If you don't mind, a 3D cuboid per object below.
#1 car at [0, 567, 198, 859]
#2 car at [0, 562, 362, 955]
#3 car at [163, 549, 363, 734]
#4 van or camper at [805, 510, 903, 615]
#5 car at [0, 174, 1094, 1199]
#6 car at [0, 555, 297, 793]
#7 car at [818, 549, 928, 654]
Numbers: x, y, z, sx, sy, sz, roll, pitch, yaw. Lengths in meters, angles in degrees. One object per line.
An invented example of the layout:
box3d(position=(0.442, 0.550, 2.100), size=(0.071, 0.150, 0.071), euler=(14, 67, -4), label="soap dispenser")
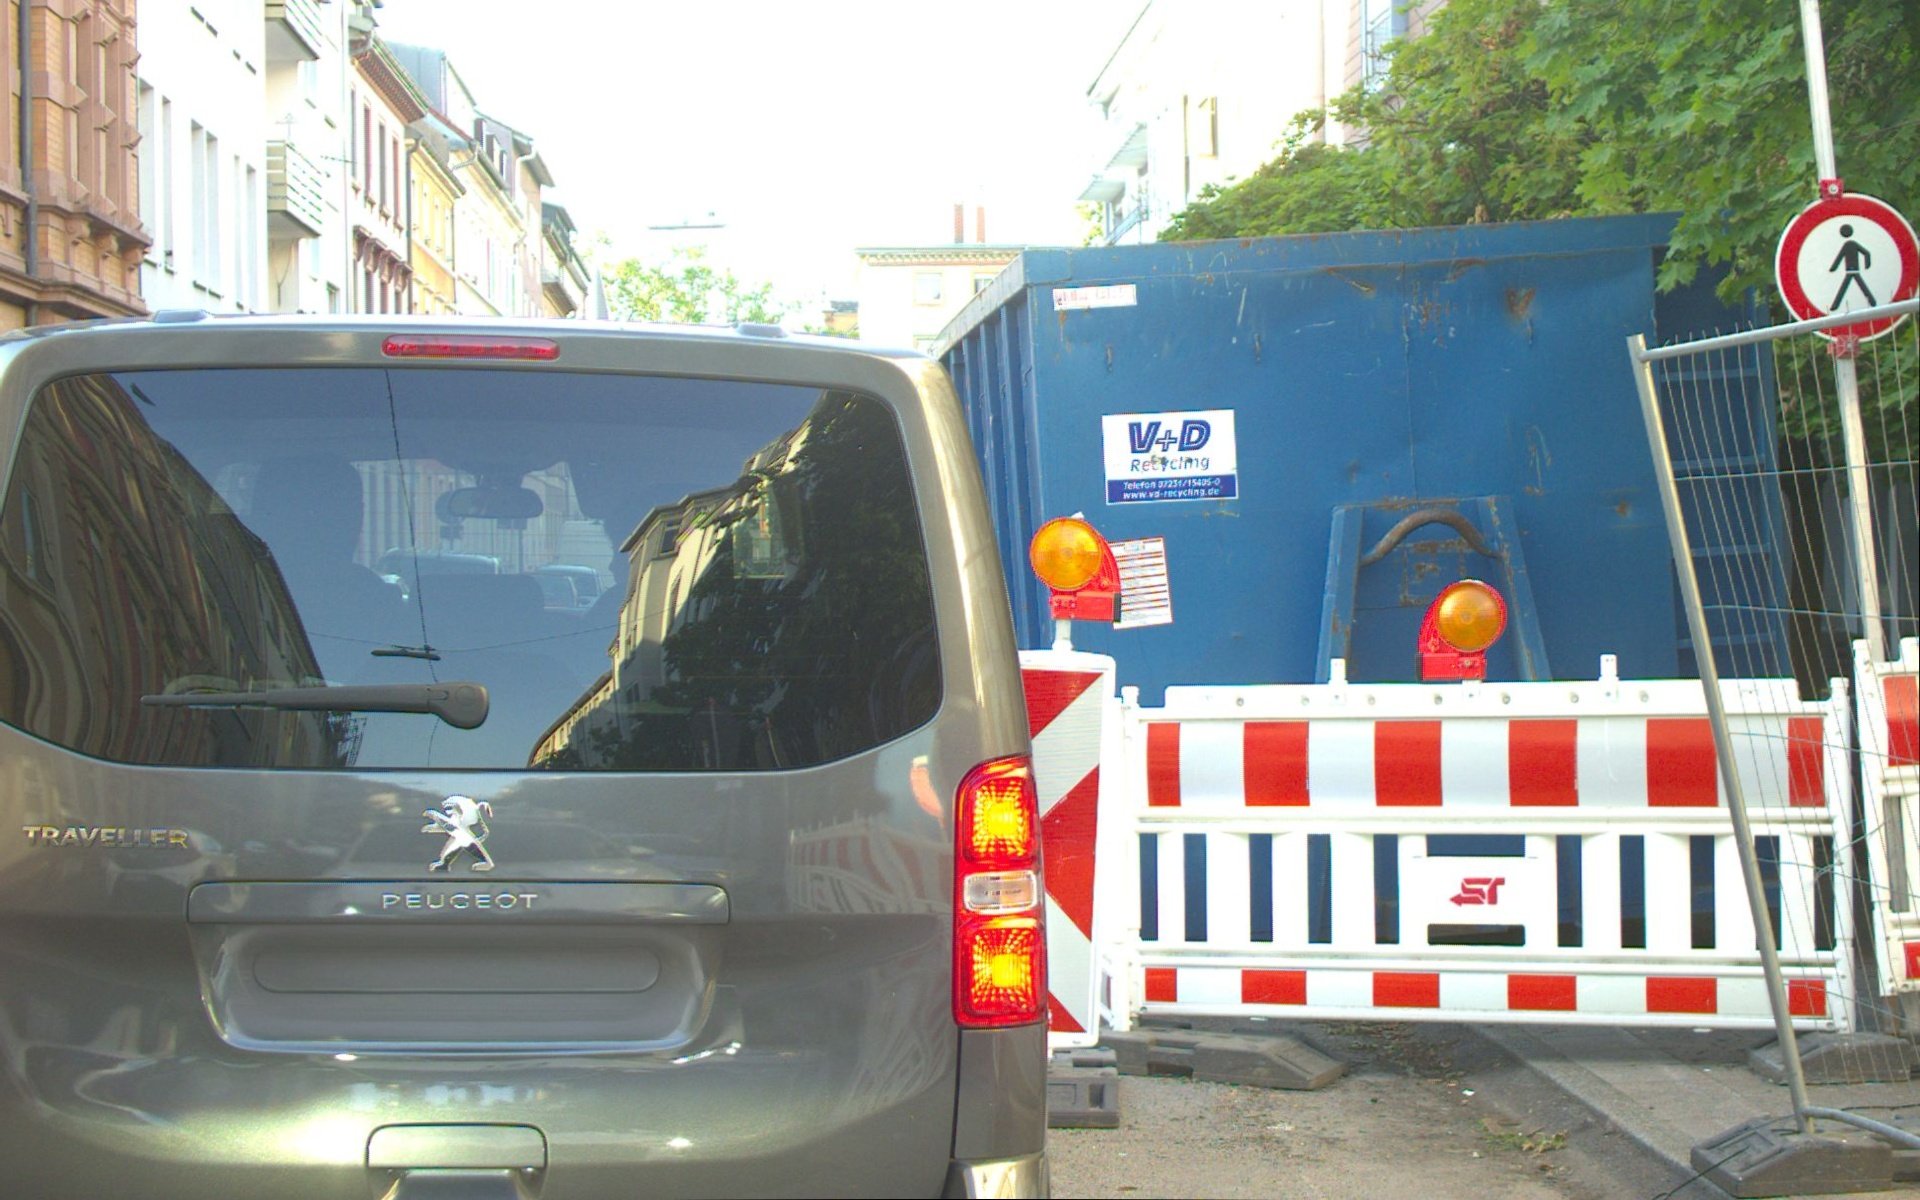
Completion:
box3d(position=(-5.225, 0.541, 18.726), size=(1.632, 1.425, 3.556), euler=(0, 1, -5), label="car")
box3d(position=(-3.969, 0.583, 15.069), size=(1.993, 1.481, 4.000), euler=(0, 1, 0), label="car")
box3d(position=(-6.217, 0.334, 30.873), size=(1.395, 1.583, 2.794), euler=(0, 1, -4), label="car")
box3d(position=(-2.834, -0.993, 90.354), size=(2.099, 2.593, 7.513), euler=(-2, 1, -5), label="van or camper")
box3d(position=(-0.893, 0.410, 6.785), size=(1.857, 2.007, 4.001), euler=(-2, 1, -4), label="car")
box3d(position=(-5.698, 0.462, 24.212), size=(1.555, 1.503, 3.598), euler=(2, 1, -4), label="car")
box3d(position=(-1.446, -0.002, 57.553), size=(1.749, 1.677, 4.526), euler=(0, 1, -1), label="car")
